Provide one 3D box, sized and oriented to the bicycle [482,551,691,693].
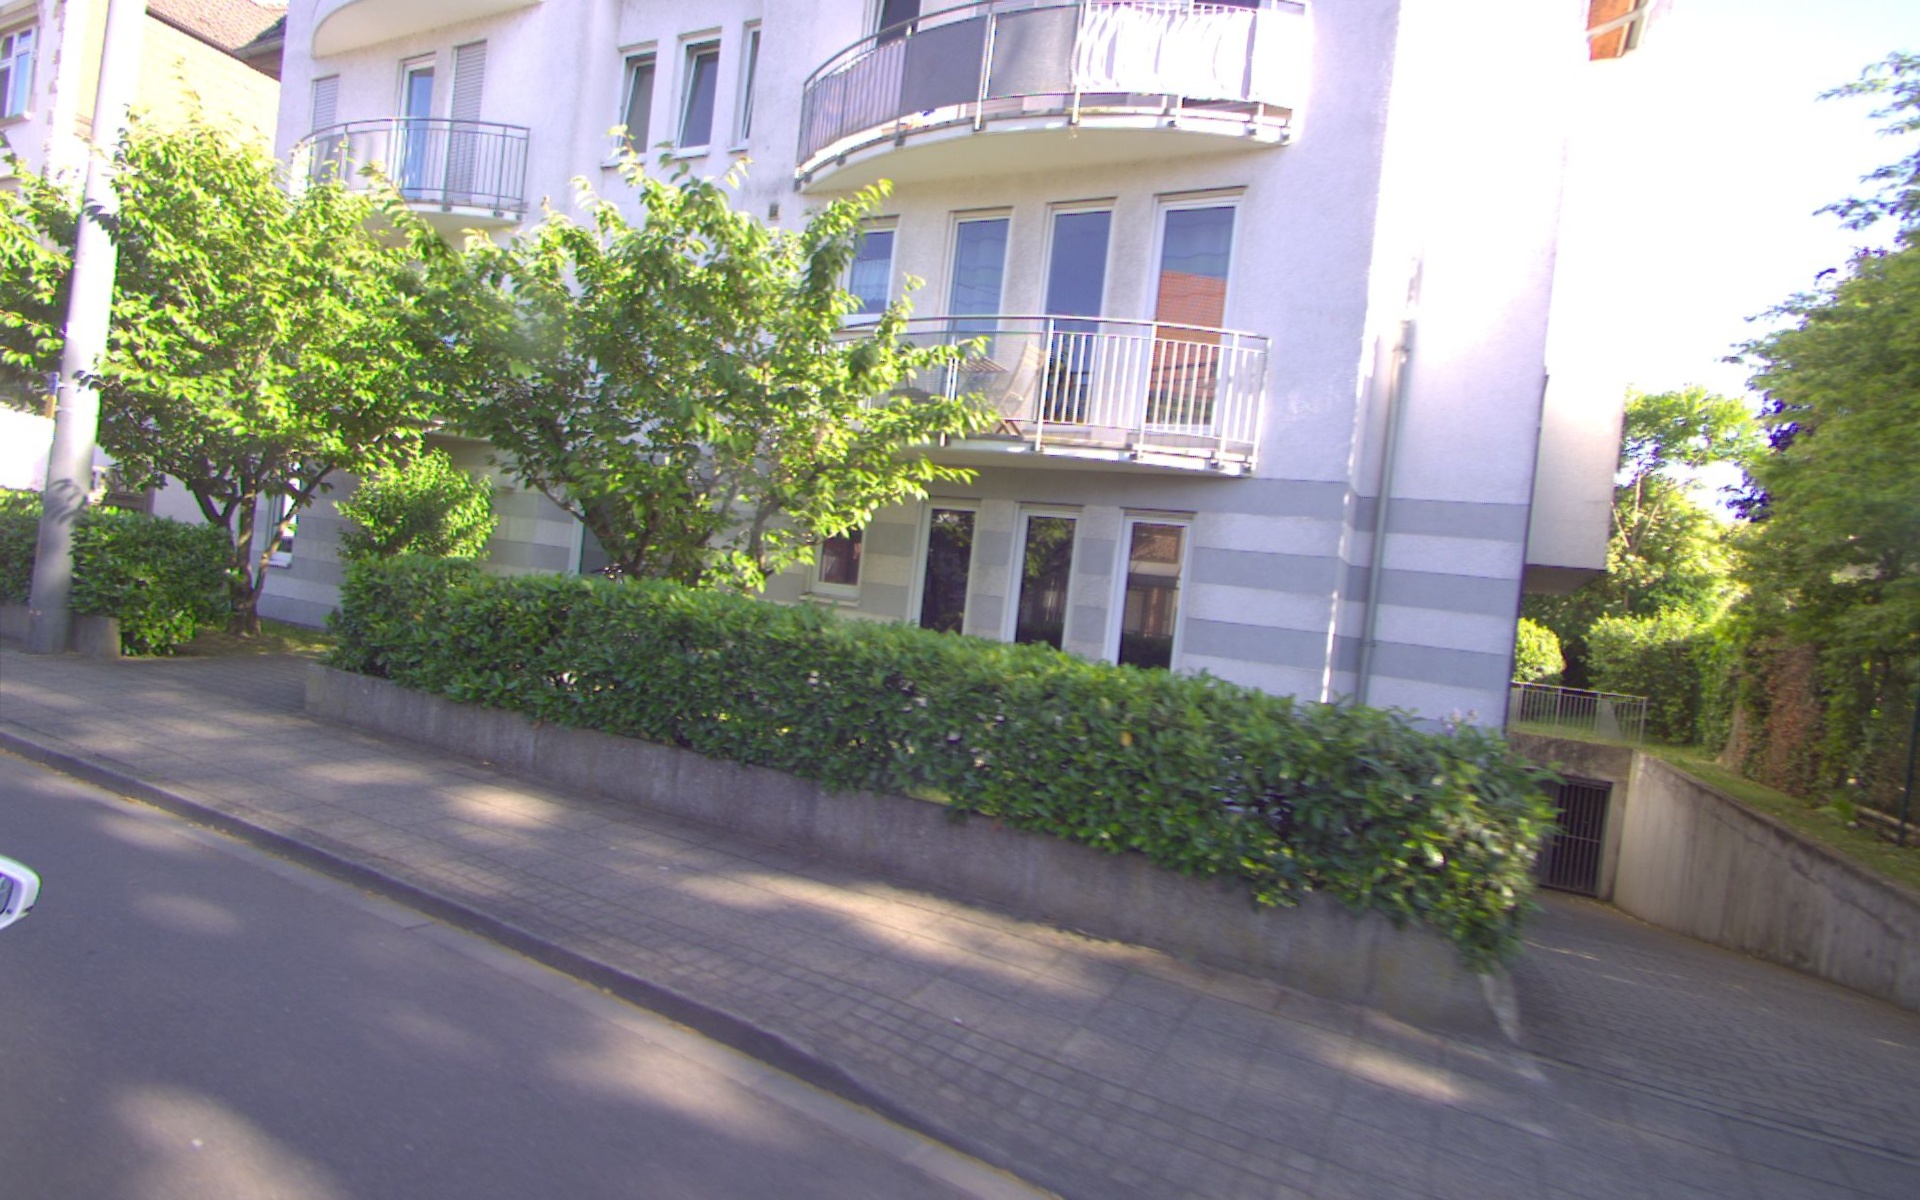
[{"bbox_3d":[-3.660,0.195,10.035,0.811,1.220,1.842,6,3,27],"label":"bicycle"}]
